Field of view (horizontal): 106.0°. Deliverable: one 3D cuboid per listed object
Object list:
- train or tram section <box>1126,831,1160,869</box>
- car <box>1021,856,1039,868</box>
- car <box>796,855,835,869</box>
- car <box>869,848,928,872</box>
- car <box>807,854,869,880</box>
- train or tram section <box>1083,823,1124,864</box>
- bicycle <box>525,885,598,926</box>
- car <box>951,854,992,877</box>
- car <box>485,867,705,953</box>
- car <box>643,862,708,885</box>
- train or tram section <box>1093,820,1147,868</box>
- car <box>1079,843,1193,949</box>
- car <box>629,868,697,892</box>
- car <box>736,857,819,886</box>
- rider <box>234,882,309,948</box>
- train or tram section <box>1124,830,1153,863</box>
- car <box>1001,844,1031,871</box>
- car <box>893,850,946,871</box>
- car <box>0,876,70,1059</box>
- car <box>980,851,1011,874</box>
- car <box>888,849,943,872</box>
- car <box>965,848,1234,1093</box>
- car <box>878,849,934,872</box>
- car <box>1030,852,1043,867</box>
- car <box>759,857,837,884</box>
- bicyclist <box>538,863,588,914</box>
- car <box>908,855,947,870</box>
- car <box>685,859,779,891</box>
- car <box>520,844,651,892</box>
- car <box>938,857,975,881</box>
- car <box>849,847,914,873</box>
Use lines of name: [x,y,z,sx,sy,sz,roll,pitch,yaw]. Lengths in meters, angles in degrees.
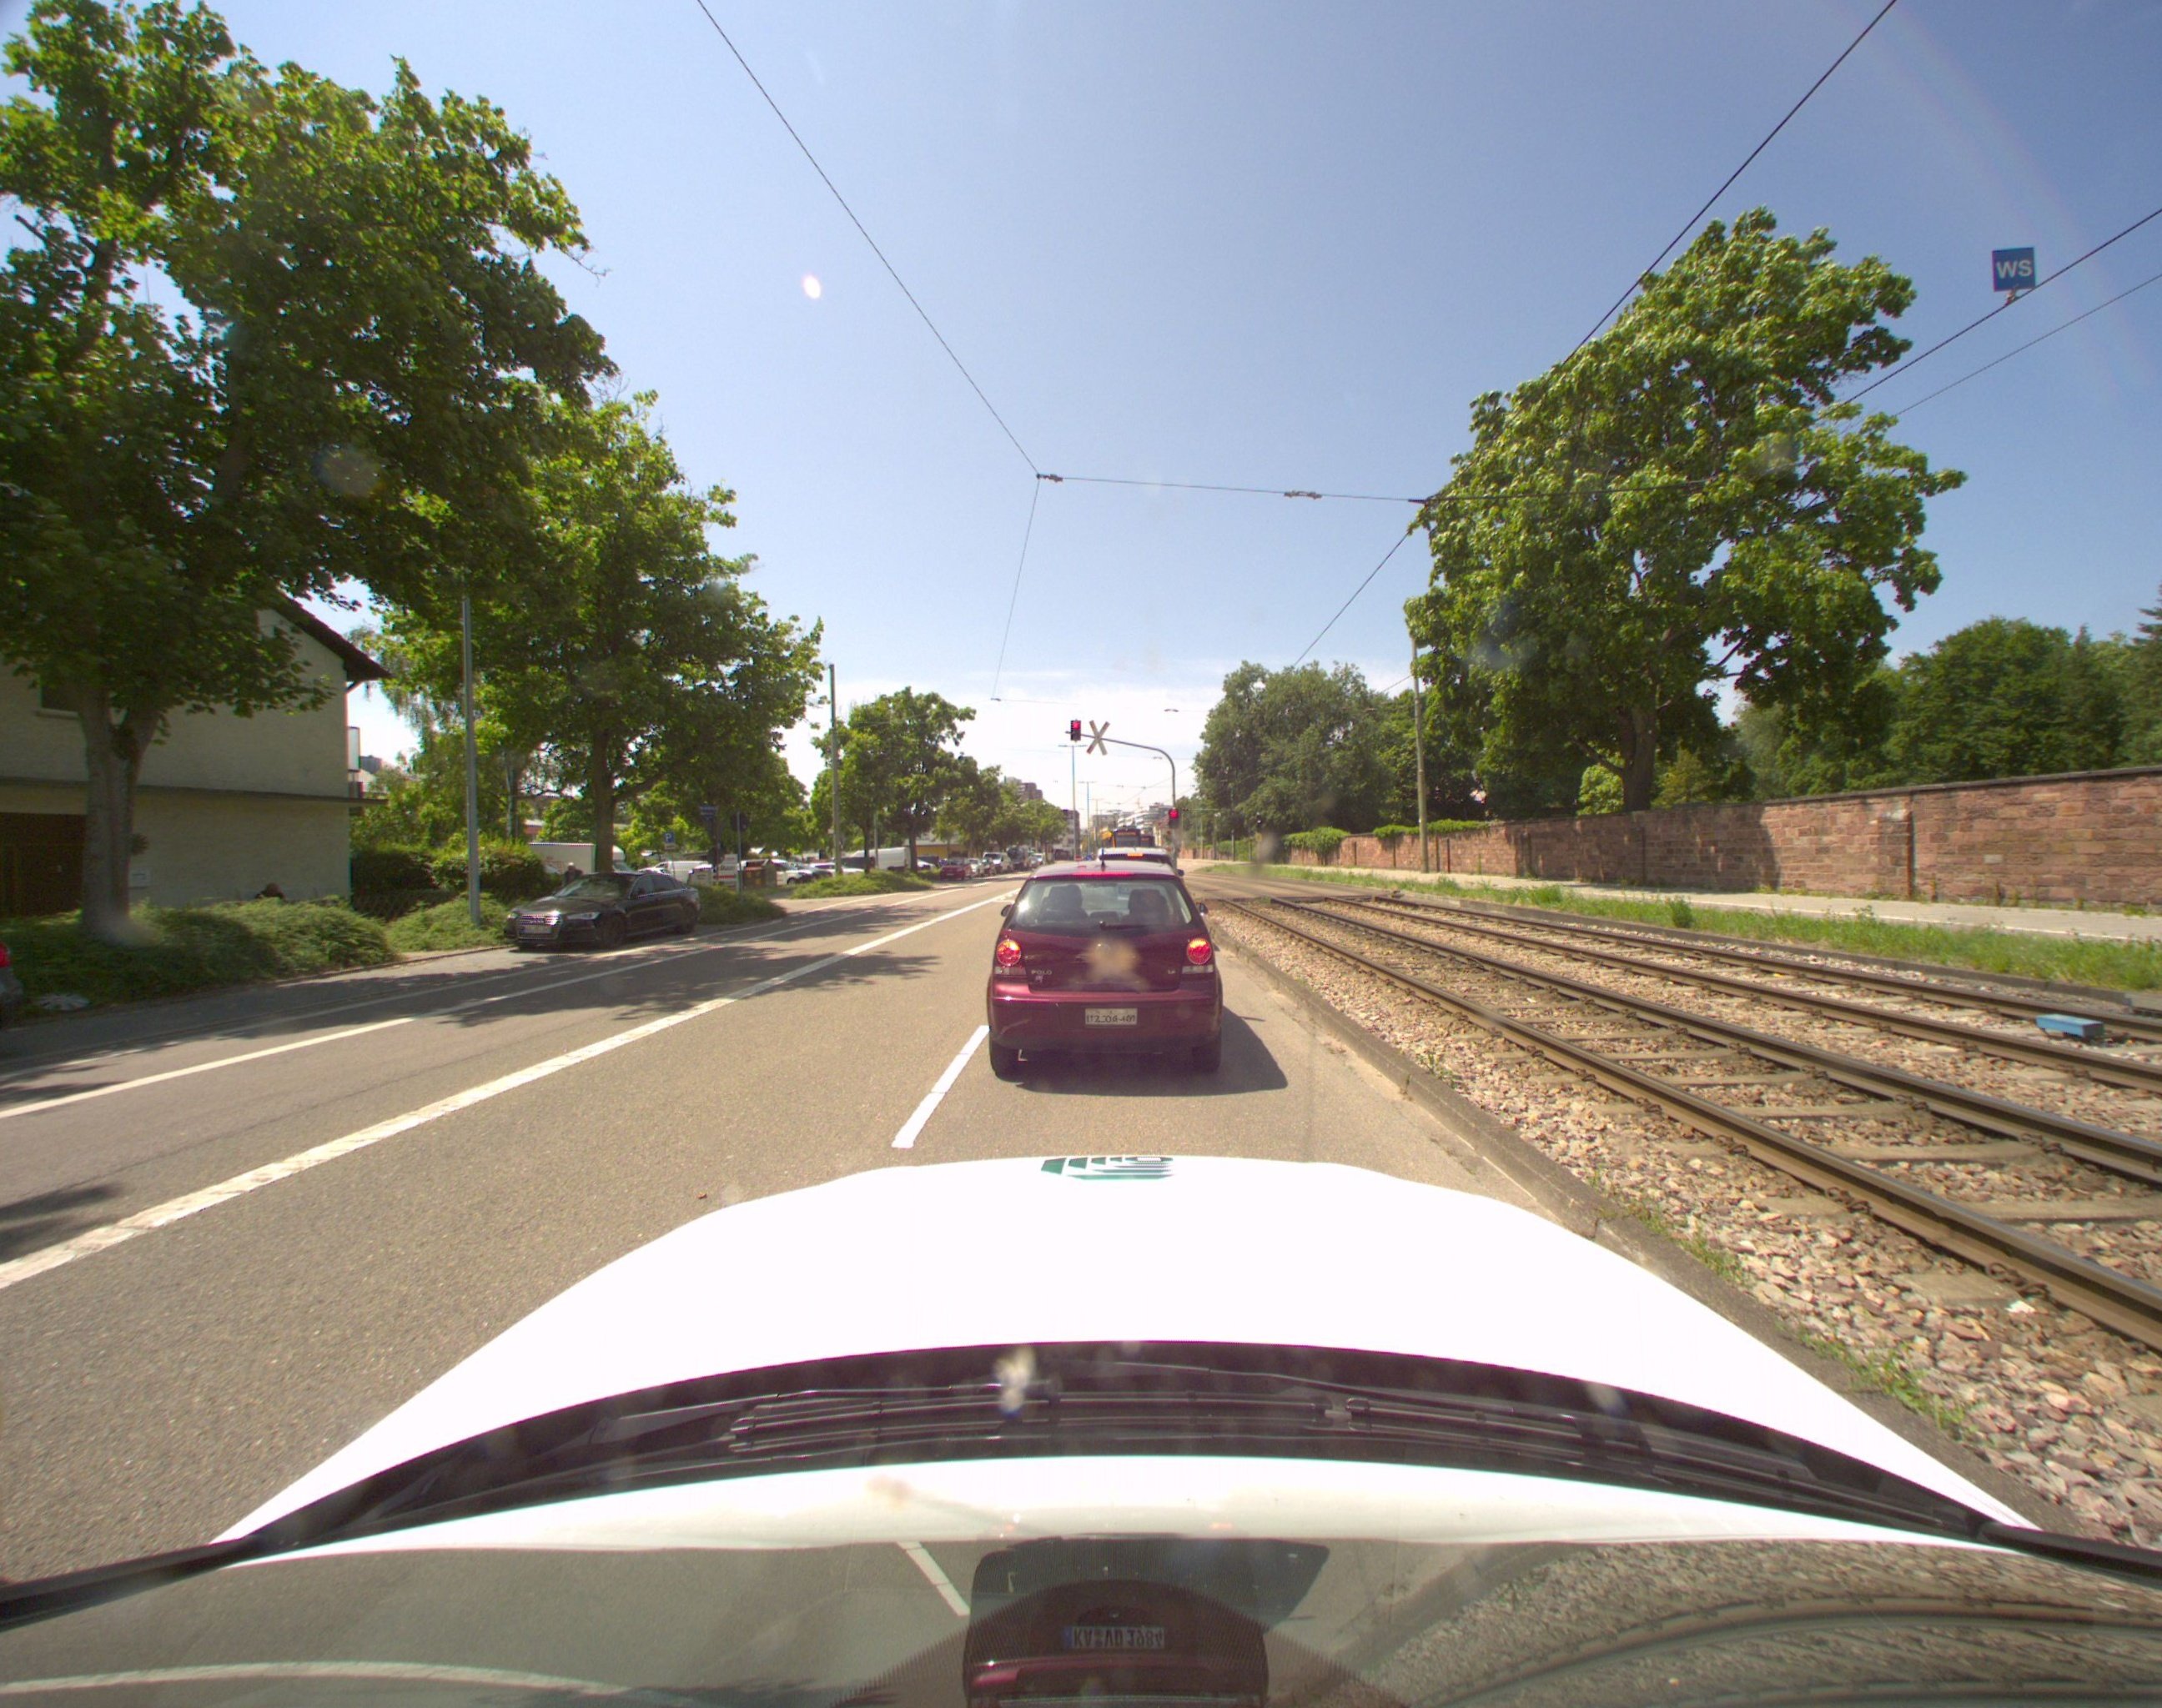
train or tram section: [6.708,-0.383,90.085,3.017,3.798,13.095,-2,0,2]
car: [-6.388,0.984,101.671,1.606,1.441,4.006,0,-1,5]
car: [-31.575,0.973,96.948,4.006,1.617,1.816,1,-1,0]
car: [-17.828,0.609,79.705,5.076,2.244,2.380,1,-1,3]
car: [-18.182,0.974,61.118,3.973,1.746,1.998,-2,0,0]
train or tram section: [2.027,-0.984,78.602,2.736,3.609,10.931,1,0,-5]
bicycle: [-14.429,1.420,22.685,0.697,1.030,1.831,0,-1,5]
car: [-8.223,0.853,61.327,1.965,1.601,4.566,0,-1,6]
car: [-9.866,1.050,17.033,1.812,1.476,4.450,0,0,1]
car: [-30.686,1.491,61.780,3.982,1.653,1.812,1,-1,-7]
train or tram section: [3.027,-0.781,67.303,2.736,3.609,12.847,1,0,-5]
car: [0.903,0.651,14.765,1.770,1.647,4.001,0,0,1]
car: [-30.422,1.890,59.356,3.982,1.653,1.812,1,-1,-7]
car: [-18.646,1.068,50.158,4.319,1.585,1.917,-2,0,7]
rider: [-17.973,1.344,18.094,0.820,1.374,0.814,-2,0,10]
train or tram section: [7.166,-0.864,102.974,3.017,3.798,13.095,-2,0,2]
car: [-6.697,0.403,84.593,2.352,2.692,5.311,1,-1,3]
car: [-17.445,0.706,88.083,5.076,2.244,2.380,1,-1,3]
car: [-10.268,0.987,5.411,1.812,1.564,4.182,0,0,1]
car: [-7.450,0.736,71.556,1.774,1.881,4.791,0,-1,5]
car: [-17.308,0.677,85.354,5.076,2.244,2.380,1,-1,3]
car: [0.157,0.717,7.065,1.666,1.521,4.001,0,0,1]
car: [-17.732,0.645,82.892,5.076,2.244,2.380,1,-1,3]
car: [-5.880,0.745,107.870,1.771,1.828,3.995,1,-1,-3]
car: [-18.415,1.057,53.084,4.319,1.585,1.917,-2,0,8]
bicyclist: [-14.409,0.952,22.681,0.805,1.374,0.829,0,-1,5]
car: [-17.404,1.003,92.362,4.004,1.617,1.818,1,-1,3]
car: [-19.354,1.162,45.291,4.329,1.585,1.912,-2,0,-1]
car: [-31.445,0.887,51.831,6.828,2.965,2.364,1,-1,0]
car: [-8.331,0.985,54.774,1.655,1.497,4.004,1,-1,4]
car: [-17.495,0.529,71.579,5.076,2.244,2.380,1,-1,3]
